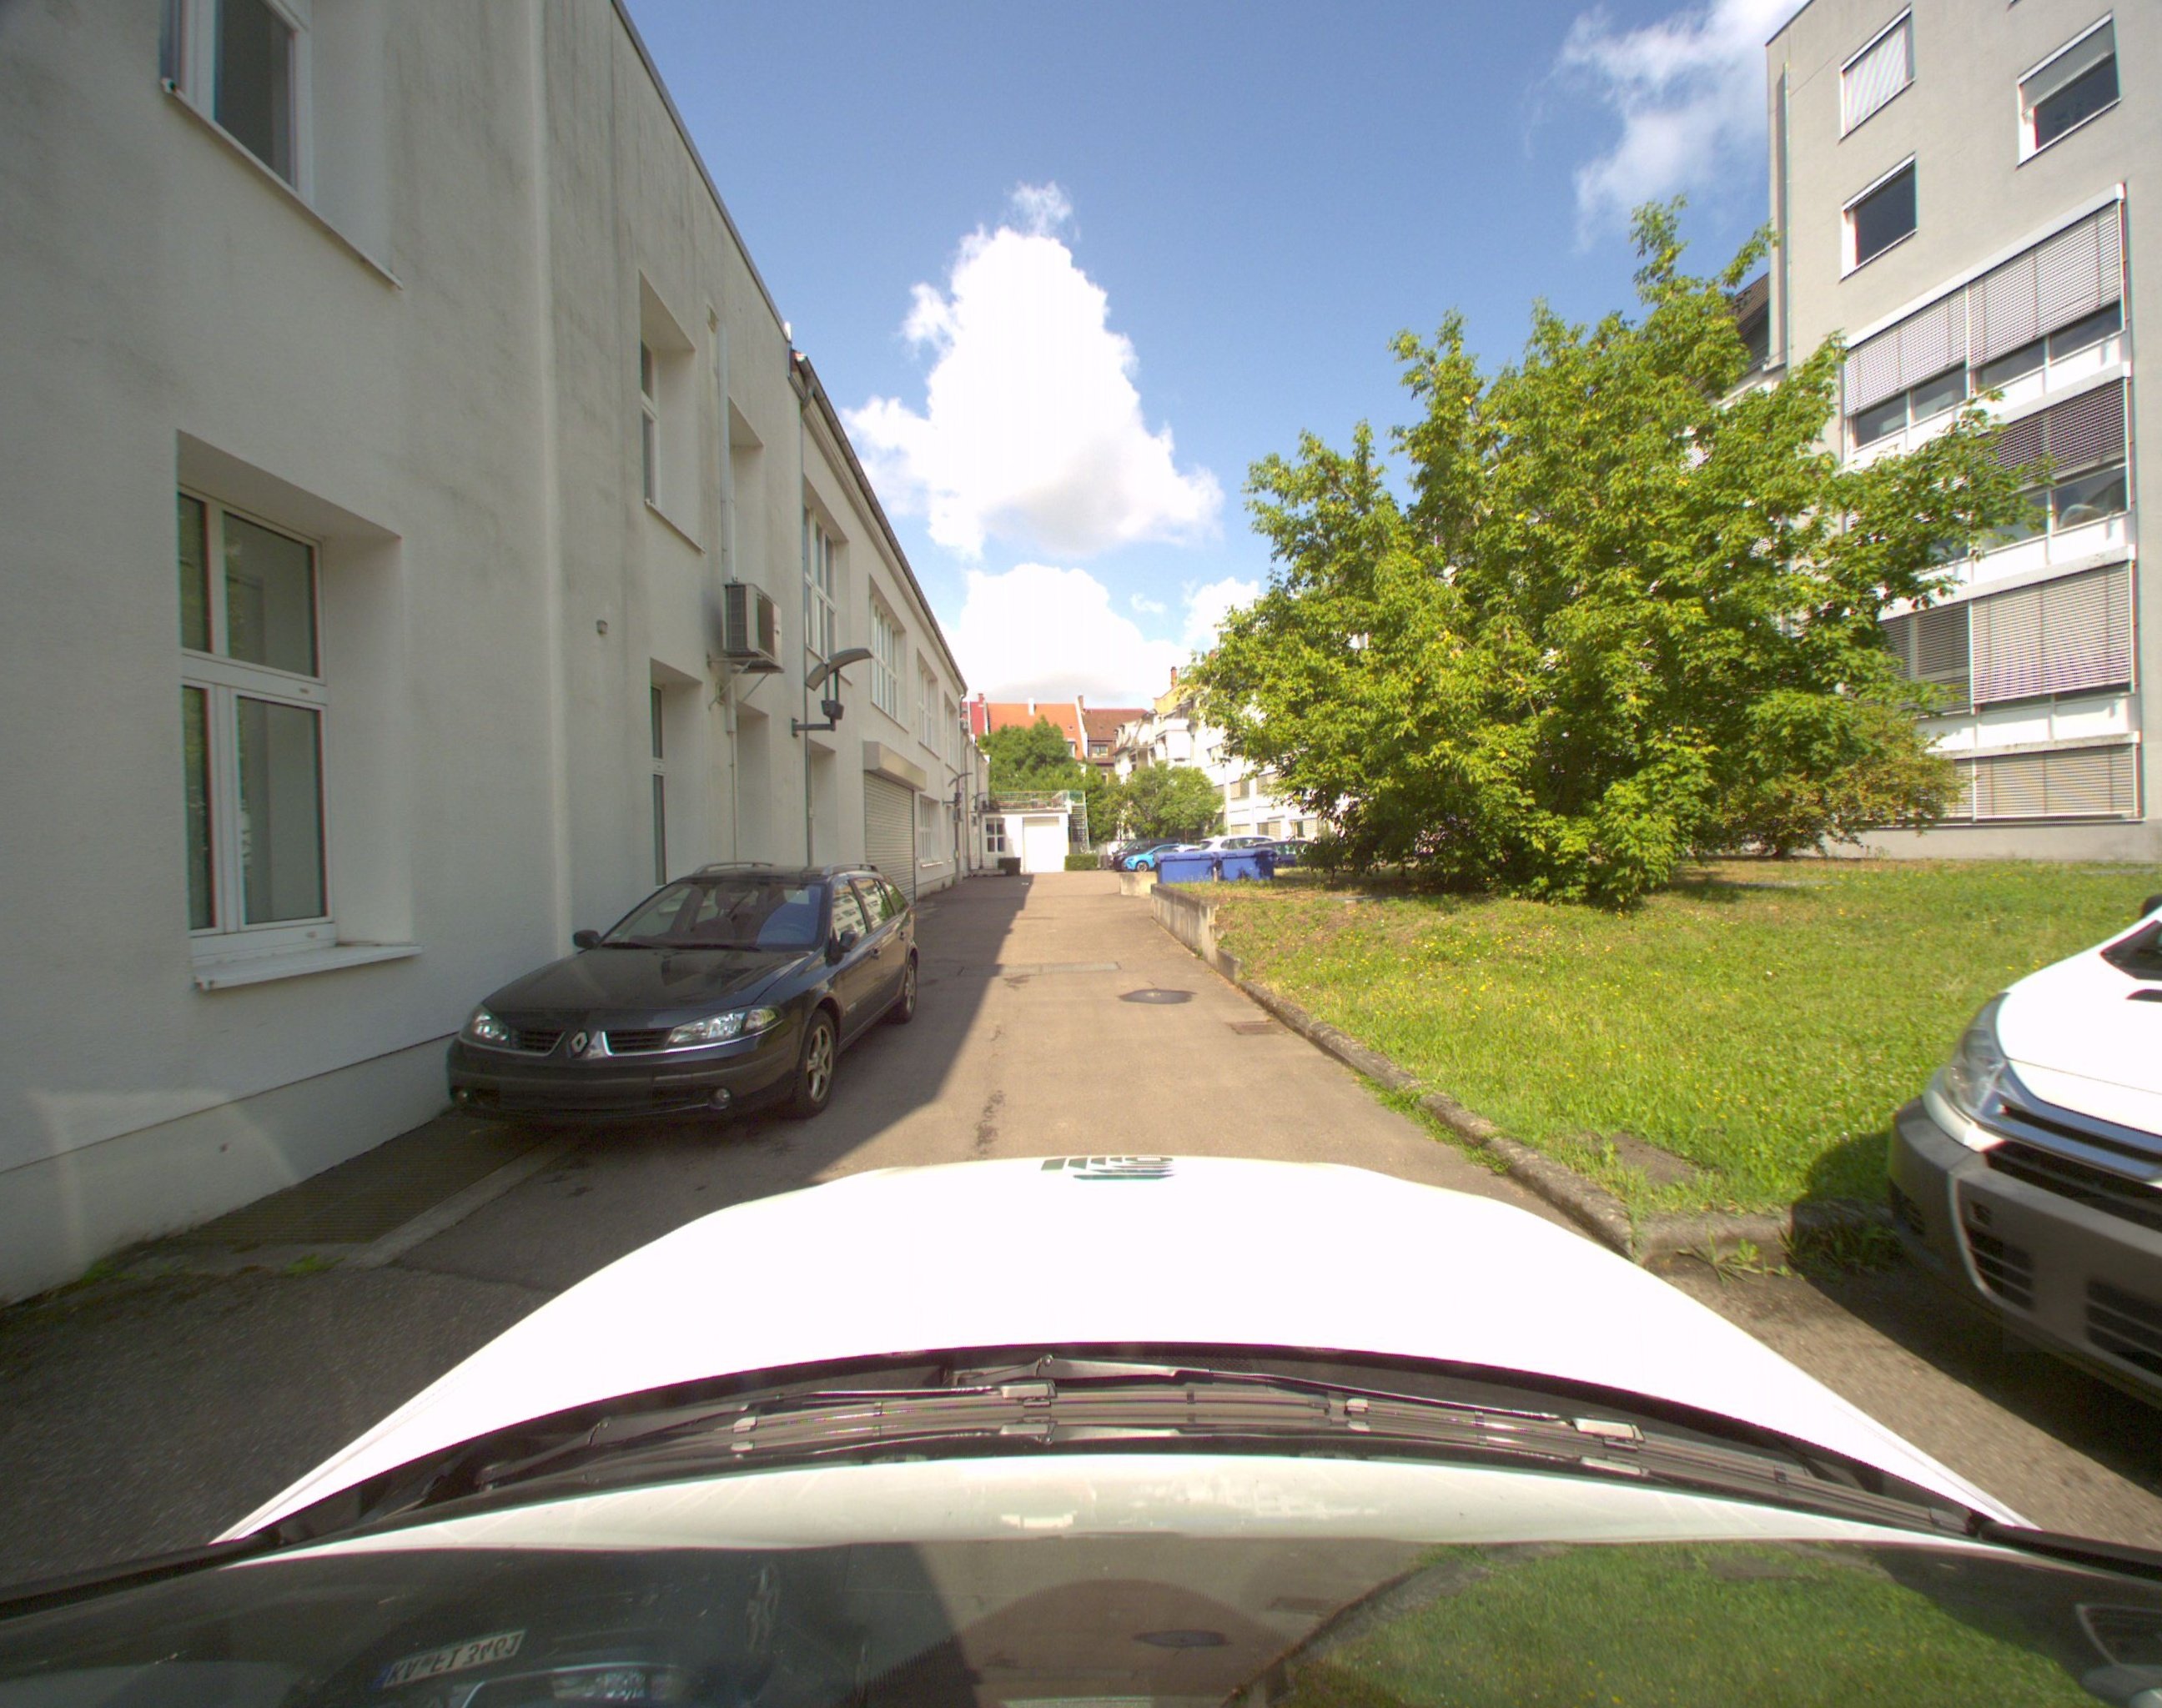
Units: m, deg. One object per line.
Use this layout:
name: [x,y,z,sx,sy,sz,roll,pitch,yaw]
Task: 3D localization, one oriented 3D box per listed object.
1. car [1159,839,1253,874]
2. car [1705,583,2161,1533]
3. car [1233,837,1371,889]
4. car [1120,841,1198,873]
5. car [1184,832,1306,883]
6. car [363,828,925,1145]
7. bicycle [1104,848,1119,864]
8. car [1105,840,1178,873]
car: [5.765,0.102,37.781,3.985,1.445,1.624,-2,1,-9]
car: [4.683,0.374,1.941,4.926,1.964,1.999,-1,0,-2]
car: [7.307,0.314,27.088,4.111,1.606,1.750,1,-1,-9]
car: [4.266,0.139,44.876,3.985,1.574,1.624,-2,1,-9]
car: [6.012,0.116,30.025,3.985,1.745,1.944,-1,0,-9]
car: [-2.413,0.712,5.947,1.875,1.442,4.335,0,-3,-3]
bicycle: [2.106,0.149,57.162,0.641,1.117,1.851,1,-1,-11]
car: [3.526,0.157,47.520,3.985,1.817,1.659,1,-1,-9]
